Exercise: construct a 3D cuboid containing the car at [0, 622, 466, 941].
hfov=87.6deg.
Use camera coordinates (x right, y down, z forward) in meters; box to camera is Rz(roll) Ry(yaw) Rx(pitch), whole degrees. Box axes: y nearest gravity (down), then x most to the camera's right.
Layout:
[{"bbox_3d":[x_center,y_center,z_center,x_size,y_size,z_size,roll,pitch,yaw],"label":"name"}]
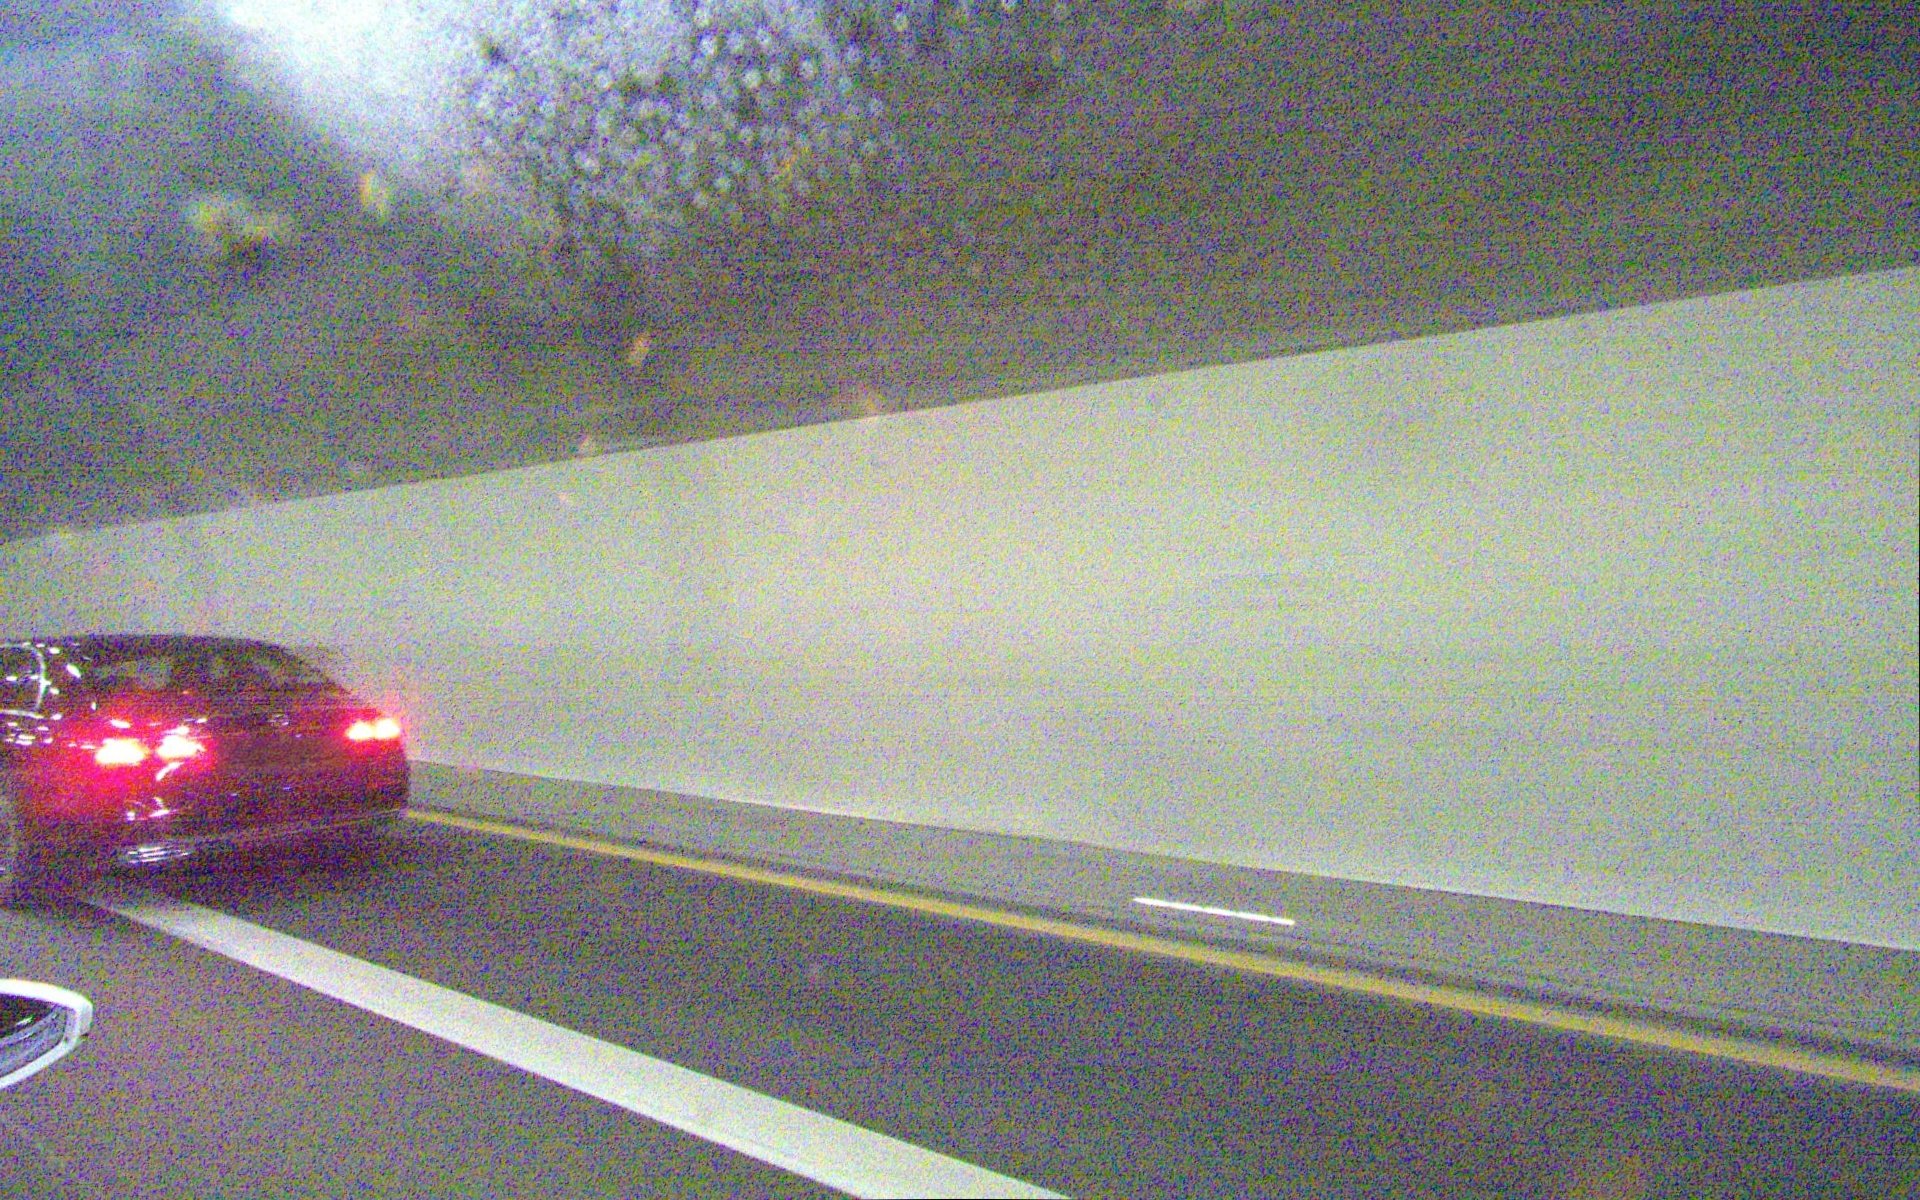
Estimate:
[{"bbox_3d":[-5.691,0.917,6.819,4.884,1.491,1.922,-1,-2,32],"label":"car"}]
